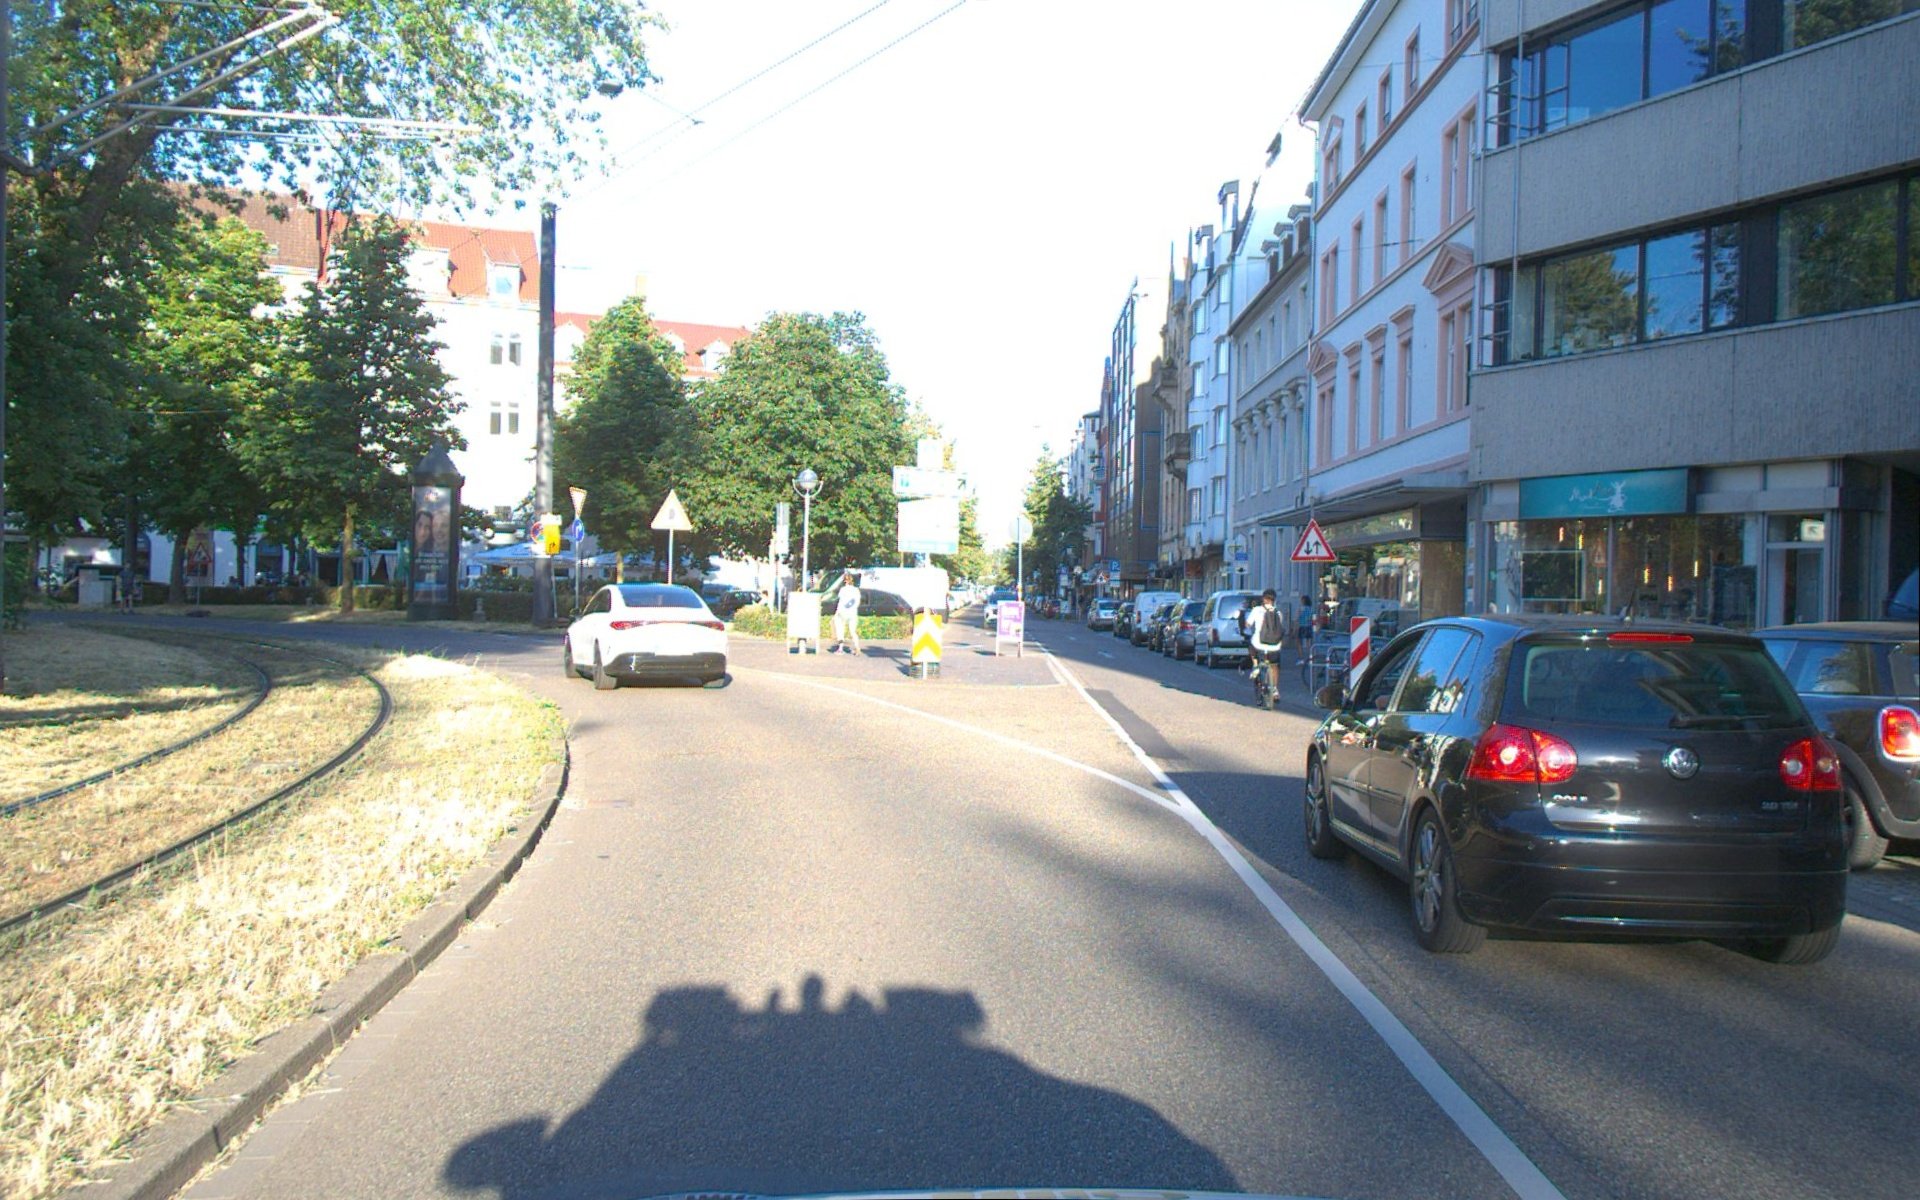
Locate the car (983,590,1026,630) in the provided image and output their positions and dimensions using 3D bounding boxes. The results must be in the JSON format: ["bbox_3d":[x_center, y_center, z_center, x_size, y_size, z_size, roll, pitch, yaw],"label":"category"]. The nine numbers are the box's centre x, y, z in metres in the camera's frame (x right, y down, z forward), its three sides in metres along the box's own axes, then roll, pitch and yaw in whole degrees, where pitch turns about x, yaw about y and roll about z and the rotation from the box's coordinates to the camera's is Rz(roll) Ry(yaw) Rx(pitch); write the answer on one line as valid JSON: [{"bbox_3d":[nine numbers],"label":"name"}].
[{"bbox_3d":[2.125,0.437,79.341,1.952,1.802,4.001,2,1,2],"label":"car"}]

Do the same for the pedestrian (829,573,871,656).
[{"bbox_3d":[-2.390,0.310,35.836,0.843,1.736,0.940,2,0,-5],"label":"pedestrian"}]

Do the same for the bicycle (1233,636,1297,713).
[{"bbox_3d":[4.426,1.063,24.085,0.567,1.004,1.936,2,0,1],"label":"bicycle"}]

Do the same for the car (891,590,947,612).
[{"bbox_3d":[-2.634,0.062,106.635,3.321,1.309,1.666,2,0,-15],"label":"car"}]

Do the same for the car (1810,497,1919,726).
[{"bbox_3d":[12.639,0.114,19.325,5.248,2.485,2.075,0,0,-25],"label":"car"}]

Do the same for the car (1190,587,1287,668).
[{"bbox_3d":[6.582,0.616,39.483,1.699,1.831,3.917,0,0,1],"label":"car"}]

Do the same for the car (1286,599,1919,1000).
[{"bbox_3d":[2.916,0.769,8.452,1.712,1.486,4.103,2,0,1],"label":"car"}]

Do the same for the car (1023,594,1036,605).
[{"bbox_3d":[9.935,-0.079,236.631,1.716,1.537,3.545,0,0,0],"label":"car"}]

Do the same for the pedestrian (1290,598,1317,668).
[{"bbox_3d":[8.249,0.792,39.699,0.491,1.653,0.496,2,0,1],"label":"pedestrian"}]

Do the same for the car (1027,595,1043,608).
[{"bbox_3d":[8.818,0.157,194.215,1.716,1.537,3.545,0,0,0],"label":"car"}]

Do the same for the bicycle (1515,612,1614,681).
[{"bbox_3d":[10.307,0.791,28.238,0.511,1.138,1.500,-2,0,-42],"label":"bicycle"}]

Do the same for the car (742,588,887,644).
[{"bbox_3d":[-4.404,0.476,50.145,3.949,1.579,1.858,2,0,-32],"label":"car"}]

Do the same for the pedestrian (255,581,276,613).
[{"bbox_3d":[-29.708,-0.126,70.782,0.655,1.376,0.658,2,0,-11],"label":"pedestrian"}]

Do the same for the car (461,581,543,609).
[{"bbox_3d":[-23.711,-0.282,85.590,3.931,1.324,1.840,2,0,-22],"label":"car"}]

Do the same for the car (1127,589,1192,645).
[{"bbox_3d":[6.891,0.579,57.430,1.885,1.873,4.018,0,0,2],"label":"car"}]

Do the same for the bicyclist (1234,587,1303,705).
[{"bbox_3d":[4.479,0.654,24.083,0.761,1.646,1.025,2,0,0],"label":"bicyclist"}]

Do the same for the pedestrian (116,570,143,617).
[{"bbox_3d":[-28.546,-0.225,56.849,0.583,1.594,0.559,2,0,38],"label":"pedestrian"}]

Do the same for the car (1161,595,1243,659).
[{"bbox_3d":[6.529,0.696,44.922,1.699,1.645,3.917,0,0,1],"label":"car"}]

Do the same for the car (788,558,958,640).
[{"bbox_3d":[-2.977,-0.007,57.083,5.442,2.640,2.137,2,0,-26],"label":"car"}]

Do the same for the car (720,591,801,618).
[{"bbox_3d":[-10.519,0.244,87.184,3.931,1.324,1.840,2,0,-22],"label":"car"}]

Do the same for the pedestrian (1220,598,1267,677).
[{"bbox_3d":[5.848,0.770,34.100,0.622,1.582,0.732,2,0,-25],"label":"pedestrian"}]

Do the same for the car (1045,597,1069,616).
[{"bbox_3d":[7.655,0.513,130.879,1.716,1.537,3.545,0,0,0],"label":"car"}]

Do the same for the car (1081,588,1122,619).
[{"bbox_3d":[7.143,0.190,83.682,1.716,1.537,3.545,0,0,0],"label":"car"}]

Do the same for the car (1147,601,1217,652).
[{"bbox_3d":[6.774,0.790,50.808,1.699,1.488,3.585,0,0,1],"label":"car"}]

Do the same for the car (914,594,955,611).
[{"bbox_3d":[-2.238,0.216,147.015,3.321,1.309,1.666,2,0,-15],"label":"car"}]

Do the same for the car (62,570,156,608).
[{"bbox_3d":[-38.147,-0.477,74.214,3.562,1.579,1.651,2,0,-22],"label":"car"}]

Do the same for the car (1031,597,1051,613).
[{"bbox_3d":[7.995,0.519,163.485,1.716,1.537,3.545,0,0,0],"label":"car"}]

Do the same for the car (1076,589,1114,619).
[{"bbox_3d":[7.121,0.213,87.734,1.716,1.537,3.545,0,0,0],"label":"car"}]

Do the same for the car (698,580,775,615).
[{"bbox_3d":[-12.442,-0.124,92.066,3.931,1.813,1.840,2,0,-22],"label":"car"}]

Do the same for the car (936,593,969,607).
[{"bbox_3d":[-0.837,-0.001,186.016,3.321,1.309,1.666,2,0,-15],"label":"car"}]

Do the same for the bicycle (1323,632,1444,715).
[{"bbox_3d":[6.123,1.043,23.954,1.574,1.138,0.610,-1,1,34],"label":"bicycle"}]

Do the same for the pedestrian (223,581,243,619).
[{"bbox_3d":[-29.701,-0.004,67.566,0.524,1.524,0.659,2,0,-6],"label":"pedestrian"}]

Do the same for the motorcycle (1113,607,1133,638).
[{"bbox_3d":[6.564,0.895,66.590,0.477,1.195,1.605,-1,1,-6],"label":"motorcycle"}]

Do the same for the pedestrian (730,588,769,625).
[{"bbox_3d":[-7.331,0.230,57.546,1.083,1.248,0.853,2,0,-25],"label":"pedestrian"}]

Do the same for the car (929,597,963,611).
[{"bbox_3d":[-1.527,0.418,178.130,3.321,1.309,1.666,2,0,-15],"label":"car"}]

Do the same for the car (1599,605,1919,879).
[{"bbox_3d":[5.952,0.799,11.183,1.629,1.466,3.821,-1,0,-3],"label":"car"}]

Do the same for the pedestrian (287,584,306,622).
[{"bbox_3d":[-27.182,0.108,67.792,0.524,1.524,0.659,2,0,-6],"label":"pedestrian"}]

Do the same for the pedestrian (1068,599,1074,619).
[{"bbox_3d":[11.106,0.897,164.905,0.520,1.957,0.542,2,0,-1],"label":"pedestrian"}]

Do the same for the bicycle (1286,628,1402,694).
[{"bbox_3d":[6.494,1.024,27.987,1.813,1.064,0.579,-1,1,31],"label":"bicycle"}]

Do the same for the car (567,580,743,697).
[{"bbox_3d":[-4.566,0.485,24.320,1.838,1.466,4.172,-1,2,-21],"label":"car"}]

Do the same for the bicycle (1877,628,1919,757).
[{"bbox_3d":[9.402,0.843,15.752,1.798,1.138,0.527,-2,1,-39],"label":"bicycle"}]
